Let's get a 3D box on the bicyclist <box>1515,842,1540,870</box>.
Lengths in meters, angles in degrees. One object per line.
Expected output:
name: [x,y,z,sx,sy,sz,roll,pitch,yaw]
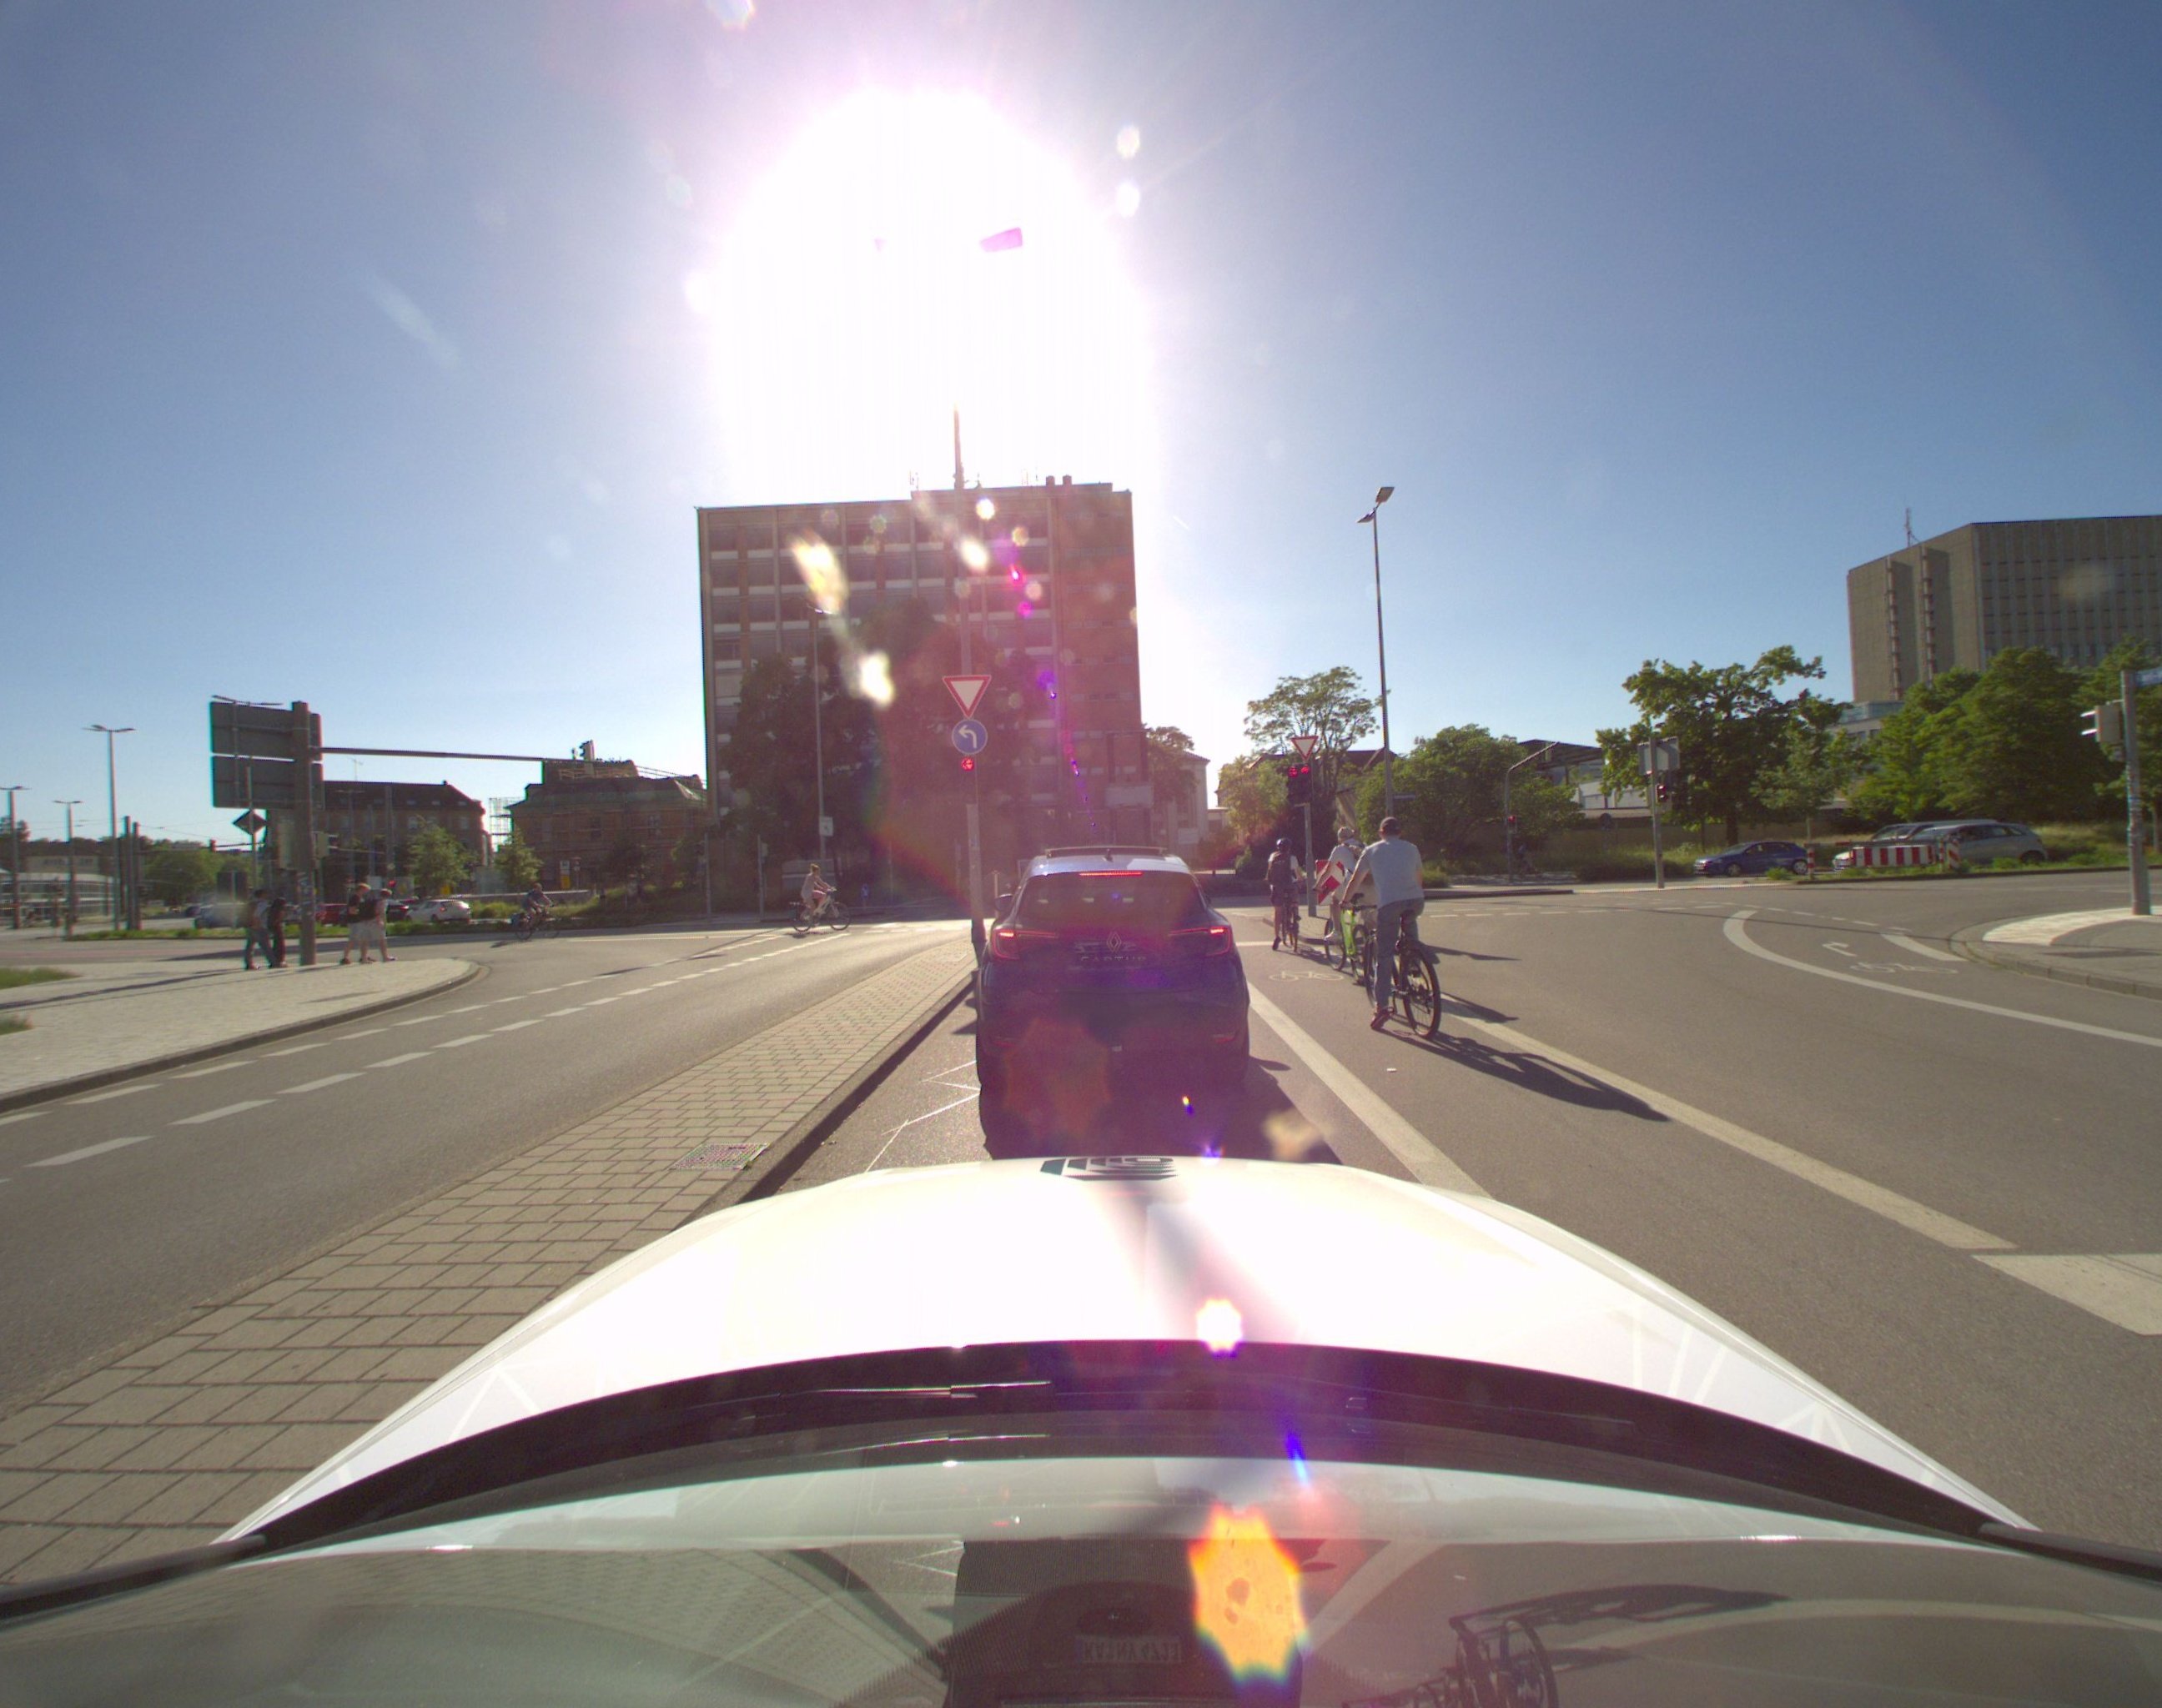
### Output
bicyclist: [22.021,0.106,40.214,0.822,1.316,0.697,-3,1,4]

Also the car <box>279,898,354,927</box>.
car: [-48.461,3.685,51.644,4.334,1.632,1.854,-3,-1,23]

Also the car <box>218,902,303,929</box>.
car: [-49.015,3.678,48.658,4.841,1.388,1.854,-3,-1,23]

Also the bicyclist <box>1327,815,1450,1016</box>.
bicyclist: [2.713,0.515,7.293,0.748,1.668,1.017,0,-1,3]

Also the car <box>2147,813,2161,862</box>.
car: [36.985,-0.622,25.349,4.711,1.584,2.002,-2,-1,4]

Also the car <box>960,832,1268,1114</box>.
car: [0.203,0.709,6.801,1.798,1.632,3.999,-1,0,0]

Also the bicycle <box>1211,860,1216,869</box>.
bicycle: [15.254,1.230,93.879,0.403,0.973,1.686,0,-1,6]

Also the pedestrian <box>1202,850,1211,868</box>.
pedestrian: [14.375,0.522,93.215,0.855,2.014,0.469,-2,-1,7]

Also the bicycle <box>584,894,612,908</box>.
bicycle: [-34.417,3.358,58.044,2.057,0.964,0.602,-3,-1,23]

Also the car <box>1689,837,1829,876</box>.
car: [28.216,0.101,34.007,4.140,1.435,1.747,-2,-1,8]

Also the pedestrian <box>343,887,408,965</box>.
pedestrian: [-16.203,1.631,18.708,0.785,1.690,0.793,-5,-3,20]

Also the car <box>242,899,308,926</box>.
car: [-53.818,3.921,54.370,4.331,1.632,1.855,-3,-1,27]

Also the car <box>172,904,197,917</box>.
car: [-120.161,7.539,109.095,4.330,1.632,1.856,-3,-1,37]

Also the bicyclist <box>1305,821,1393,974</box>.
bicyclist: [3.215,0.495,9.848,0.644,1.739,1.065,0,-1,-4]

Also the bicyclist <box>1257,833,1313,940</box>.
bicyclist: [3.238,0.501,12.986,0.722,1.629,0.970,0,-1,6]

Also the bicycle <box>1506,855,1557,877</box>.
bicycle: [22.233,0.605,40.216,2.071,0.930,0.697,-3,1,4]

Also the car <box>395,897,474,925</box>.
car: [-36.389,3.213,45.848,3.803,1.435,1.752,-2,-1,21]

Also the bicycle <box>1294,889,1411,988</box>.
bicycle: [3.214,0.956,9.850,0.657,1.003,1.967,0,-1,-4]

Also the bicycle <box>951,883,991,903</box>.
bicycle: [-5.929,2.113,44.024,2.016,0.964,0.593,-2,-1,-25]

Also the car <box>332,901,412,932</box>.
car: [-42.572,3.748,48.894,4.334,1.632,1.854,-3,-1,23]

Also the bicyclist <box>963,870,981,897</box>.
bicyclist: [-5.891,1.597,44.052,0.741,1.441,0.593,-2,-1,-25]

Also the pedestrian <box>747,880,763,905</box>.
pedestrian: [-21.526,2.516,53.823,0.732,1.603,0.601,-3,-1,14]

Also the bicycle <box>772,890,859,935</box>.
bicycle: [-6.899,1.506,21.154,1.971,0.995,0.743,-4,-1,11]

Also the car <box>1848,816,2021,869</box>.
car: [35.250,-0.440,33.760,4.856,2.107,2.002,0,-1,4]

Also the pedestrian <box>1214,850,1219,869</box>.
pedestrian: [15.098,0.601,90.856,0.473,2.014,0.524,-2,-1,8]

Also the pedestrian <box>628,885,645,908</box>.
pedestrian: [-31.765,3.031,58.206,0.852,1.571,0.562,-3,-1,23]

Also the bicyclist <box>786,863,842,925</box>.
bicyclist: [-6.927,1.028,21.175,1.061,1.500,0.744,-4,-1,12]

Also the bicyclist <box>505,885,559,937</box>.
bicyclist: [-16.113,1.661,23.910,1.115,1.422,0.690,-4,-1,16]

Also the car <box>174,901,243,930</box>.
car: [-55.163,3.907,51.468,4.331,1.632,1.855,-3,-1,27]

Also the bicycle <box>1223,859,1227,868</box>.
bicycle: [16.650,1.078,94.171,0.403,0.973,1.686,0,-1,6]

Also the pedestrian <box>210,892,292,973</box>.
pedestrian: [-18.287,1.711,17.968,0.900,1.690,0.839,-4,-3,-3]

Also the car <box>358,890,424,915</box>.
car: [-50.988,3.576,60.203,4.779,1.632,1.855,-2,-1,25]

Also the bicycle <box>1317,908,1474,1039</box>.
bicycle: [2.720,0.991,7.294,0.737,0.896,1.980,0,-1,3]

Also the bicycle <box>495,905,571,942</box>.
bicycle: [-16.086,2.043,23.900,1.969,0.918,0.690,-4,-1,16]

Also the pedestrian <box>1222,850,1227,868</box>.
pedestrian: [16.210,0.603,92.182,0.473,2.014,0.469,-2,-1,8]

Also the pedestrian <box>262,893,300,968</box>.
pedestrian: [-19.143,1.812,19.490,0.600,1.729,0.572,-2,-1,-45]

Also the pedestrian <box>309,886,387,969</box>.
pedestrian: [-16.965,1.673,18.864,0.696,1.800,1.109,-6,-3,23]

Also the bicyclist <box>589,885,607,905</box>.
bicyclist: [-34.430,2.920,58.050,0.928,1.429,0.602,-3,-1,22]

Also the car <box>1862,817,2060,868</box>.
car: [28.140,-0.338,26.165,4.025,1.408,1.872,-2,-1,8]

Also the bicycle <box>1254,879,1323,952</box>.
bicycle: [3.247,0.928,12.932,0.735,0.995,2.177,0,-1,6]

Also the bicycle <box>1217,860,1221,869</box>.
bicycle: [15.872,1.225,93.821,0.403,0.973,1.686,0,-1,6]
